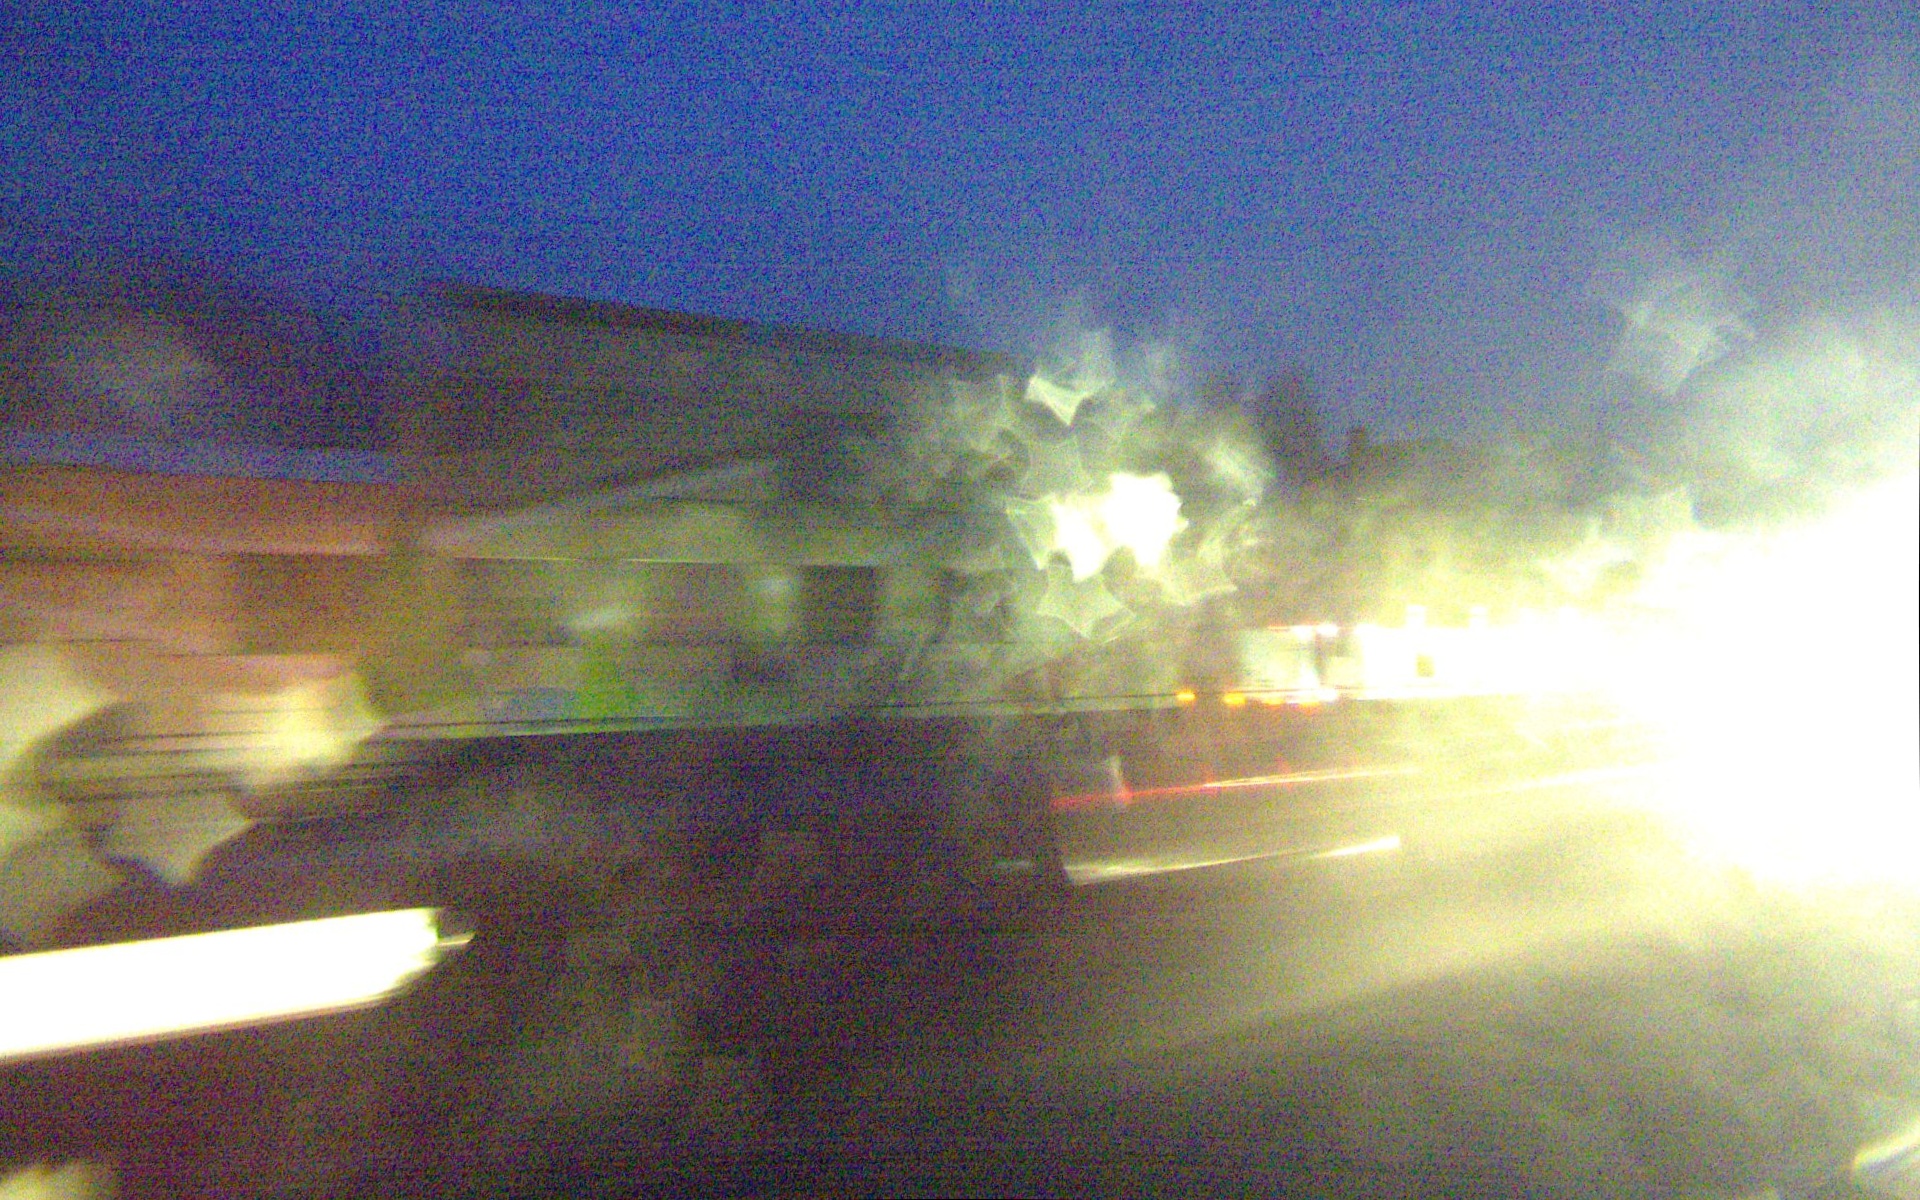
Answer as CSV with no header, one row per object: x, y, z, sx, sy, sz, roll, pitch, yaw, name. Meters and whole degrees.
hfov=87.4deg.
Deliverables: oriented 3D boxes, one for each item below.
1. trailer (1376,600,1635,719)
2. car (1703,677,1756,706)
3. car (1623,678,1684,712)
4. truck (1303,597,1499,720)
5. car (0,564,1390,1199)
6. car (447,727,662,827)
24.191,2.566,44.449,11.378,4.860,3.323,2,0,-20,trailer
48.978,5.772,63.904,4.257,1.591,1.793,2,-1,-40,car
40.341,5.499,58.389,4.256,1.698,1.793,2,-1,-39,car
18.581,2.406,42.421,7.207,4.860,3.323,2,0,-20,truck
-0.540,0.700,3.506,4.018,1.436,1.703,2,-1,-30,car
-9.083,3.891,22.588,4.244,1.698,1.799,2,-1,-32,car
